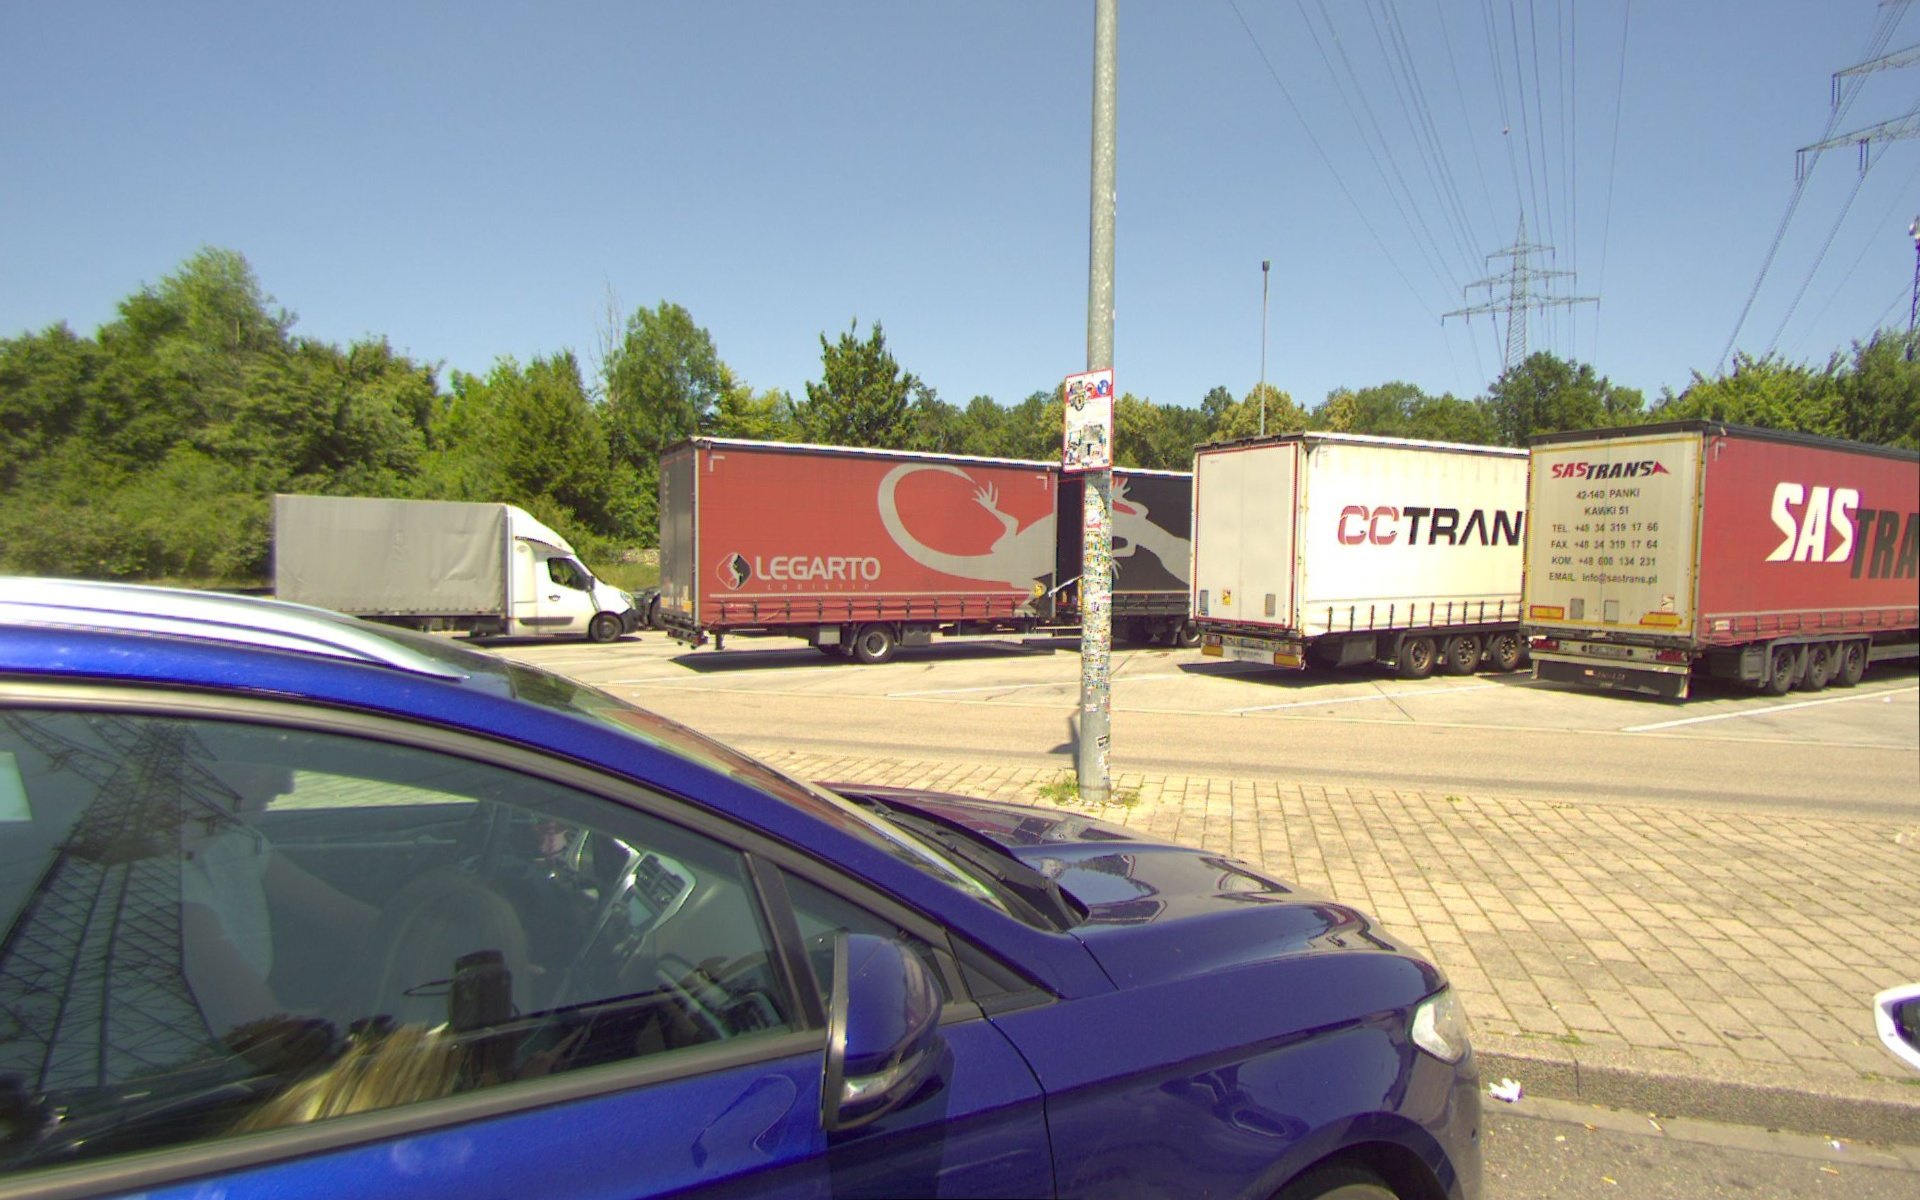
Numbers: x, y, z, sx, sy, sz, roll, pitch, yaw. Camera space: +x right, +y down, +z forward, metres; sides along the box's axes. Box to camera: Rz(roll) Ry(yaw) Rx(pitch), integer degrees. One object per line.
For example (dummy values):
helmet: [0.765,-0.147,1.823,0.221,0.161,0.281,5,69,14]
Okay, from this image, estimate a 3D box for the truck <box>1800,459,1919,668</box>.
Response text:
truck: [21.457,-0.712,22.060,5.824,4.189,2.792,0,0,-30]

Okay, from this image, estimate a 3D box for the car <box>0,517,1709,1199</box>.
car: [-0.963,0.660,1.458,4.362,1.437,1.731,1,0,-30]

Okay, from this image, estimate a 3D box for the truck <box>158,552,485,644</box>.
truck: [-15.353,-0.034,24.678,6.538,2.040,1.984,0,0,-30]

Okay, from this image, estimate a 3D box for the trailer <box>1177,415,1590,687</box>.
trailer: [8.102,-0.761,18.812,8.189,4.208,2.741,0,1,-30]

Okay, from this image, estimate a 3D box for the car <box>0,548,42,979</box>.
car: [-4.264,0.509,2.208,3.077,1.378,1.334,1,0,-30]

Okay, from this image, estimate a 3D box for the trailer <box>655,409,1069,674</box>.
trailer: [-1.800,-0.977,20.248,7.963,4.510,2.648,0,0,-31]

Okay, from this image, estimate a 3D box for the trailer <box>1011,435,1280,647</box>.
trailer: [4.501,-1.251,24.052,6.076,4.504,2.665,0,0,-30]

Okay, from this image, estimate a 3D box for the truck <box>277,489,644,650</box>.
truck: [-11.069,-0.594,22.801,7.171,3.194,2.160,0,1,-30]

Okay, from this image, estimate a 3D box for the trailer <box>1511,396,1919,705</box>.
trailer: [15.274,-0.653,18.425,13.046,4.276,2.786,0,0,-31]
